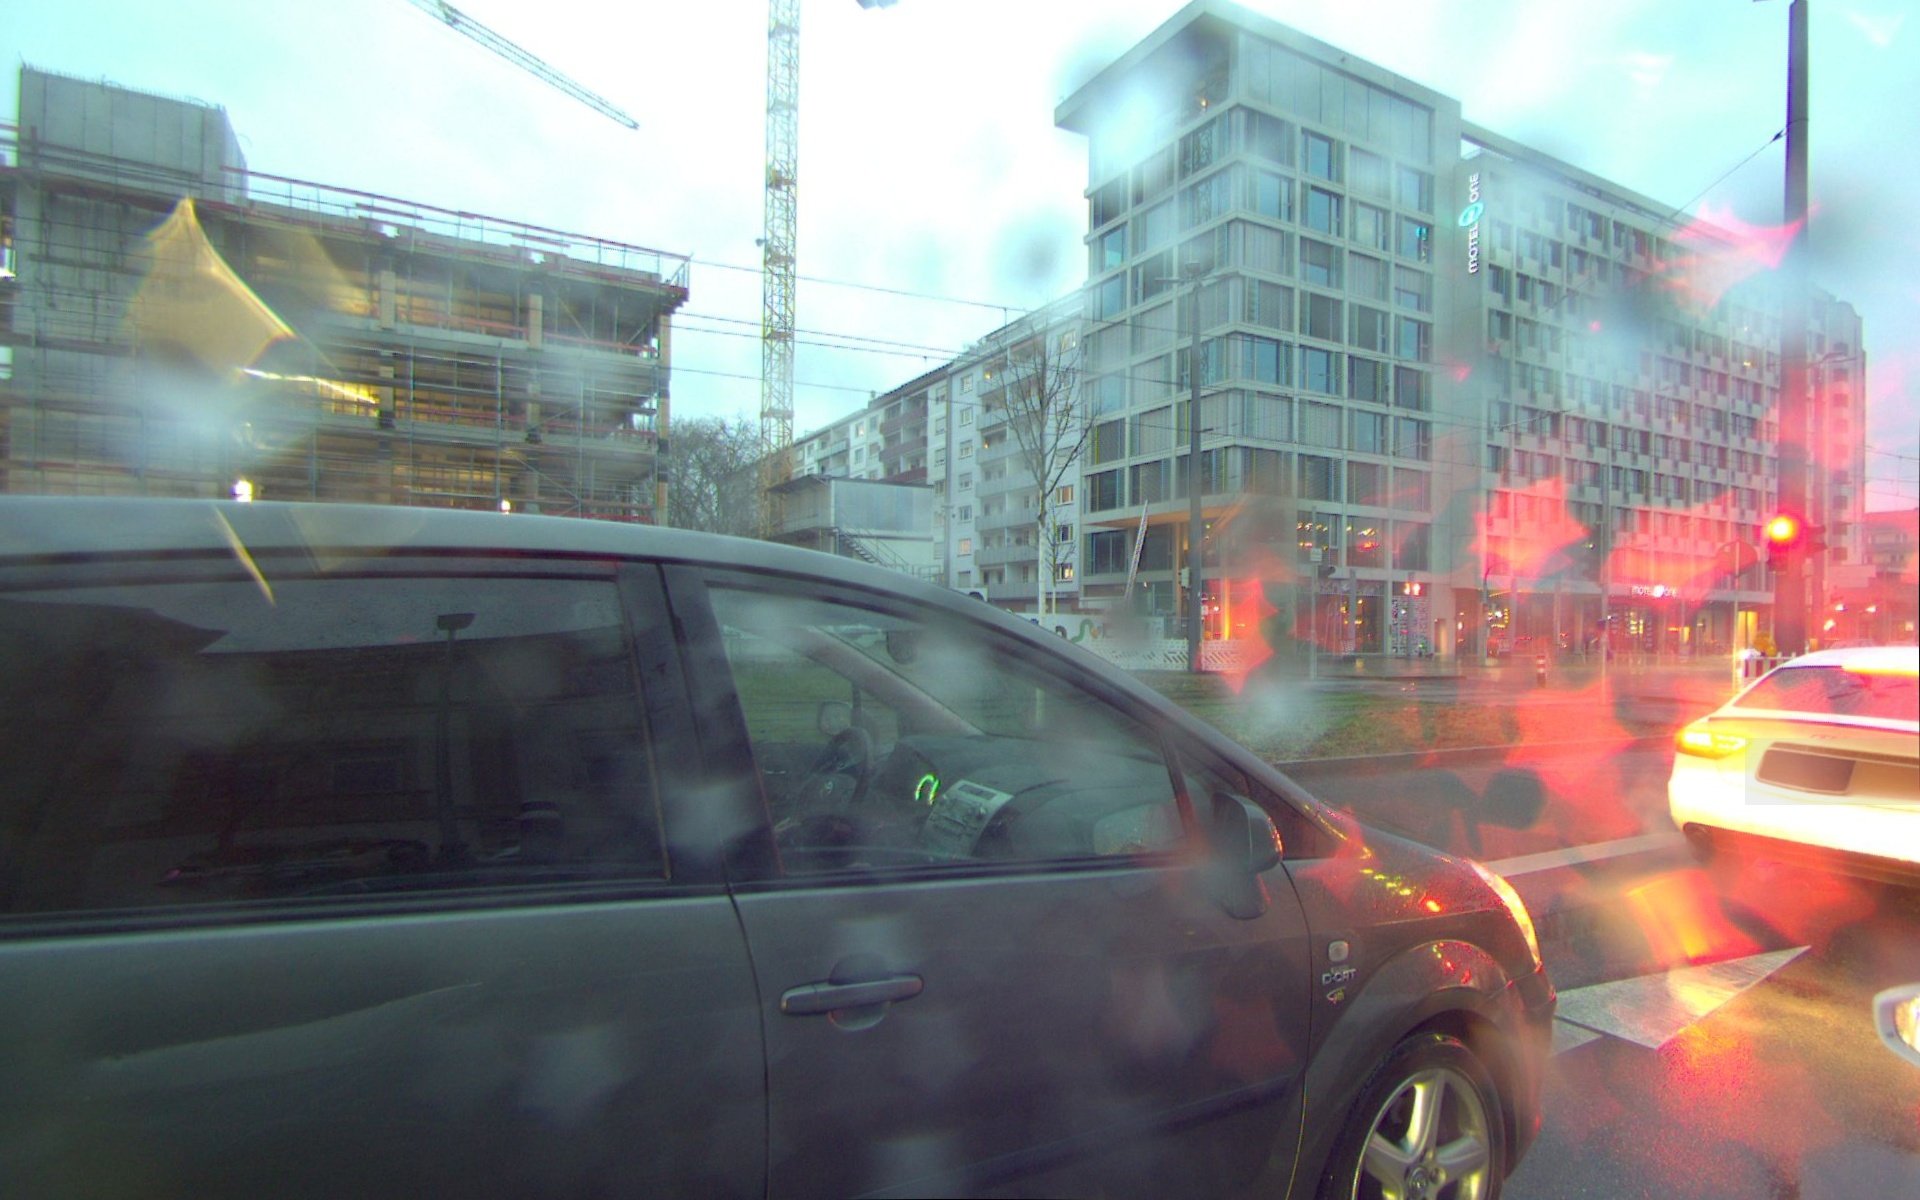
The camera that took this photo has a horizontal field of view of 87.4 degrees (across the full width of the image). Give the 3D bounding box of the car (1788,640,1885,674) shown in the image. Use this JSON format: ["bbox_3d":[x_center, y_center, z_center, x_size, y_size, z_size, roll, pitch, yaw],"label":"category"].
[{"bbox_3d":[41.992,2.722,48.107,5.035,1.481,1.984,2,0,-30],"label":"car"}]

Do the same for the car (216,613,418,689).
[{"bbox_3d":[-15.827,1.241,25.002,4.033,1.709,1.945,2,0,-28],"label":"car"}]

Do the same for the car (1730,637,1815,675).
[{"bbox_3d":[41.813,2.857,51.700,4.544,1.813,1.873,2,0,-30],"label":"car"}]

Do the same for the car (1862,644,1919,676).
[{"bbox_3d":[49.487,3.150,53.367,5.062,1.481,1.973,2,0,-45],"label":"car"}]

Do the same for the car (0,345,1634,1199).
[{"bbox_3d":[-0.496,0.604,2.137,3.956,1.615,1.750,2,0,-32],"label":"car"}]

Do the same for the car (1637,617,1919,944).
[{"bbox_3d":[6.086,0.911,6.084,4.205,1.489,1.750,2,0,-32],"label":"car"}]
